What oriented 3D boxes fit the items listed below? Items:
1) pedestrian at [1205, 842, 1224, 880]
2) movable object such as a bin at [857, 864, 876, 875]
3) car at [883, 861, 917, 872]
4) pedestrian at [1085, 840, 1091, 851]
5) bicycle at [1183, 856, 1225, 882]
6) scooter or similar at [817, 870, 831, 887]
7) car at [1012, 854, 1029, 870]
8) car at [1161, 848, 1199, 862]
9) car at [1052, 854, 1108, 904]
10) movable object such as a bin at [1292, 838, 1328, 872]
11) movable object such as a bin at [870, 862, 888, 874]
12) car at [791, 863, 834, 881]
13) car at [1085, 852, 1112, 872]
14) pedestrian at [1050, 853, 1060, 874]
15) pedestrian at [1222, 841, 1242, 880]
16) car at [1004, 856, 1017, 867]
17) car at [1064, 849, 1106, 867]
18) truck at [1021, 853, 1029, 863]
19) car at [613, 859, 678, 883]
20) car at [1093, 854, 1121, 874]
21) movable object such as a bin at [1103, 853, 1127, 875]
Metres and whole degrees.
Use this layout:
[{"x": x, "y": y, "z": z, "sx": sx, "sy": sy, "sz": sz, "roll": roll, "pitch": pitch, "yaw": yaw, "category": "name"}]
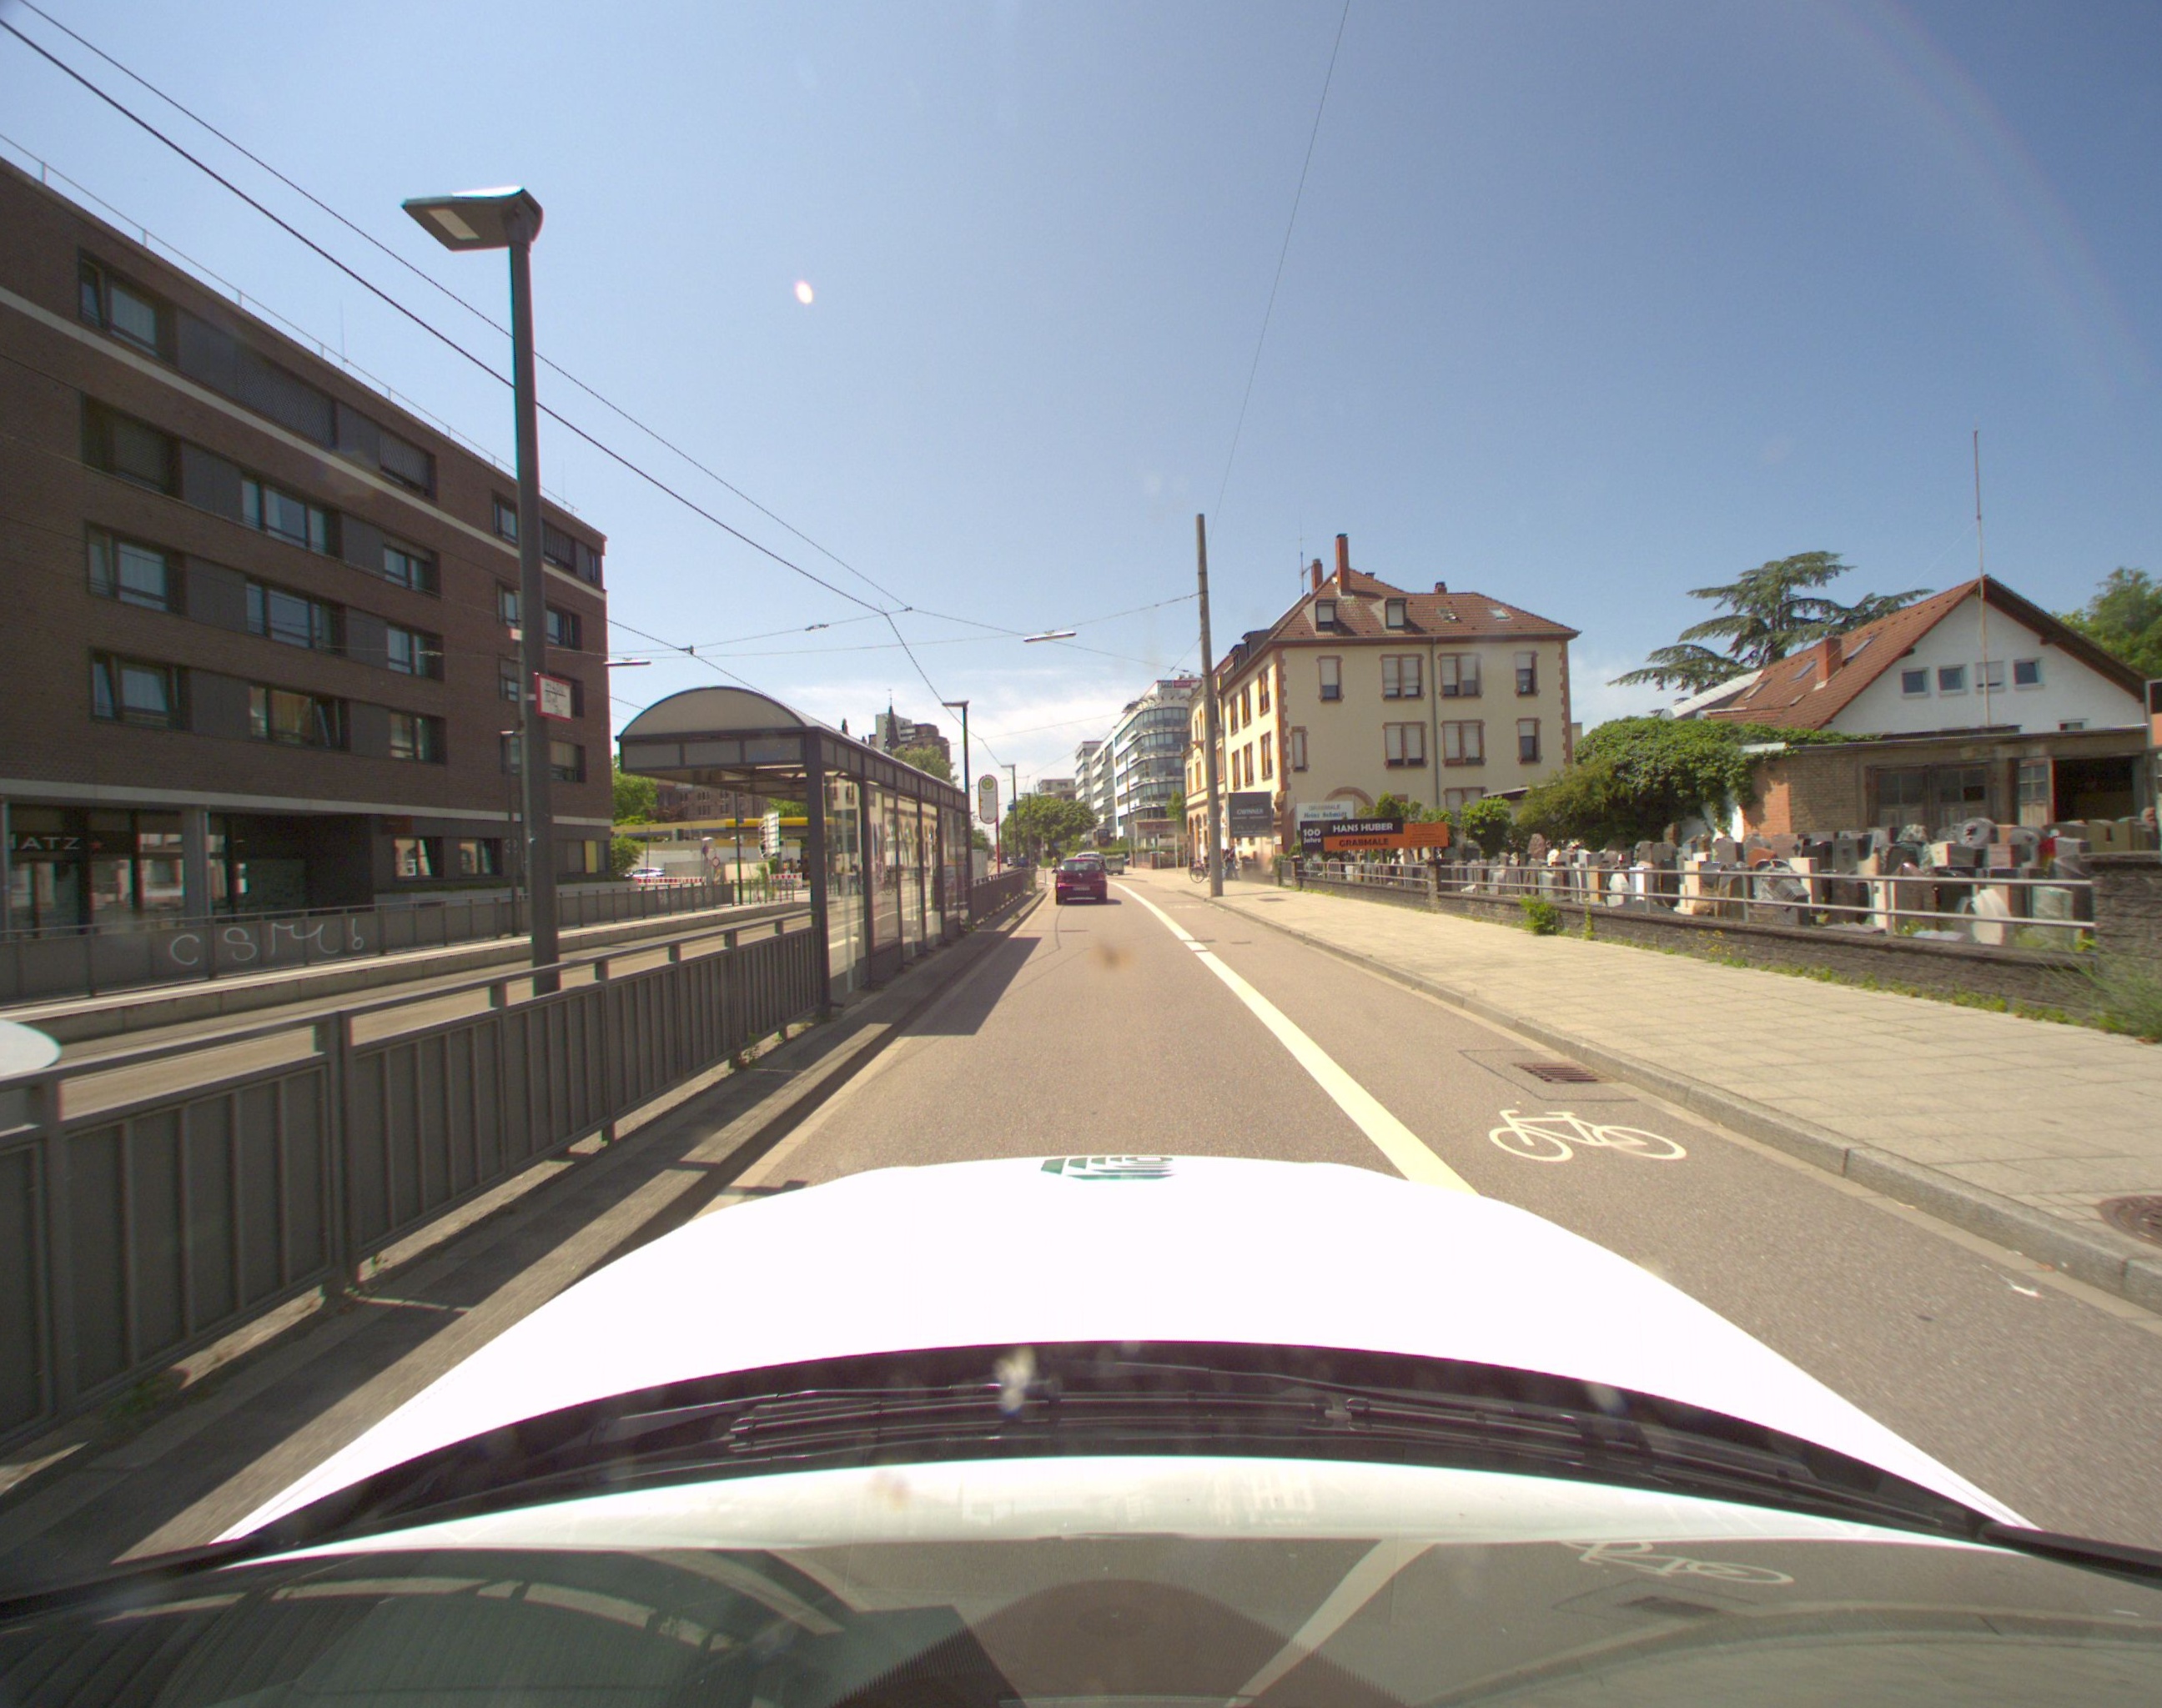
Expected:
[{"x": 6.197, "y": 0.322, "z": 37.923, "sx": 0.681, "sy": 1.772, "sz": 0.506, "roll": -2, "pitch": 0, "yaw": 27, "category": "pedestrian"}, {"x": -29.046, "y": 2.054, "z": 110.438, "sx": 1.508, "sy": 1.432, "sz": 2.109, "roll": -1, "pitch": 0, "yaw": 18, "category": "movable object such as a bin"}, {"x": -24.792, "y": 1.708, "z": 111.846, "sx": 1.910, "sy": 1.488, "sz": 4.479, "roll": -1, "pitch": 0, "yaw": 34, "category": "car"}, {"x": 1.172, "y": -1.399, "z": 134.106, "sx": 0.870, "sy": 1.715, "sz": 1.091, "roll": -4, "pitch": -1, "yaw": 3, "category": "pedestrian"}, {"x": 5.706, "y": 0.716, "z": 37.680, "sx": 1.784, "sy": 1.127, "sz": 0.594, "roll": -3, "pitch": -1, "yaw": 31, "category": "bicycle"}, {"x": -19.430, "y": 1.820, "z": 61.531, "sx": 0.342, "sy": 1.264, "sz": 1.248, "roll": -1, "pitch": 0, "yaw": 19, "category": "scooter or similar"}, {"x": -7.770, "y": 0.996, "z": 104.835, "sx": 1.991, "sy": 2.013, "sz": 3.991, "roll": -1, "pitch": 0, "yaw": -6, "category": "car"}, {"x": 11.555, "y": 0.143, "z": 94.925, "sx": 4.138, "sy": 1.459, "sz": 1.816, "roll": -2, "pitch": 0, "yaw": -3, "category": "car"}, {"x": 0.037, "y": 0.757, "z": 26.454, "sx": 1.613, "sy": 1.486, "sz": 4.002, "roll": -1, "pitch": 0, "yaw": 2, "category": "car"}, {"x": 10.922, "y": 0.036, "z": 38.828, "sx": 1.325, "sy": 1.499, "sz": 1.046, "roll": -4, "pitch": 0, "yaw": -1, "category": "movable object such as a bin"}, {"x": -27.230, "y": 1.899, "z": 109.835, "sx": 1.508, "sy": 1.509, "sz": 2.109, "roll": -1, "pitch": 0, "yaw": 18, "category": "movable object such as a bin"}, {"x": -26.041, "y": 1.716, "z": 79.242, "sx": 1.811, "sy": 1.504, "sz": 4.219, "roll": 0, "pitch": 1, "yaw": 17, "category": "car"}, {"x": 1.622, "y": 0.715, "z": 77.039, "sx": 1.921, "sy": 1.693, "sz": 5.074, "roll": -4, "pitch": 0, "yaw": -4, "category": "car"}, {"x": -2.463, "y": 0.866, "z": 76.940, "sx": 0.783, "sy": 1.960, "sz": 0.586, "roll": -2, "pitch": 0, "yaw": -21, "category": "pedestrian"}, {"x": 6.770, "y": 0.291, "z": 36.598, "sx": 0.819, "sy": 1.691, "sz": 0.590, "roll": -2, "pitch": 0, "yaw": 9, "category": "pedestrian"}, {"x": -11.737, "y": 1.183, "z": 135.887, "sx": 1.991, "sy": 1.739, "sz": 3.992, "roll": -3, "pitch": 0, "yaw": -5, "category": "car"}, {"x": 0.417, "y": 0.438, "z": 92.420, "sx": 4.534, "sy": 1.799, "sz": 1.995, "roll": -2, "pitch": 0, "yaw": -7, "category": "car"}, {"x": -14.877, "y": 1.073, "z": 215.789, "sx": 1.991, "sy": 2.662, "sz": 4.865, "roll": -1, "pitch": 0, "yaw": -6, "category": "truck"}, {"x": -32.605, "y": 1.282, "z": 60.990, "sx": 4.230, "sy": 1.746, "sz": 1.900, "roll": -1, "pitch": 0, "yaw": 17, "category": "car"}, {"x": 2.222, "y": 0.886, "z": 70.689, "sx": 1.770, "sy": 1.548, "sz": 4.459, "roll": -4, "pitch": 0, "yaw": -5, "category": "car"}, {"x": 2.469, "y": 0.735, "z": 59.260, "sx": 1.392, "sy": 1.455, "sz": 1.136, "roll": -4, "pitch": 0, "yaw": -9, "category": "movable object such as a bin"}]
